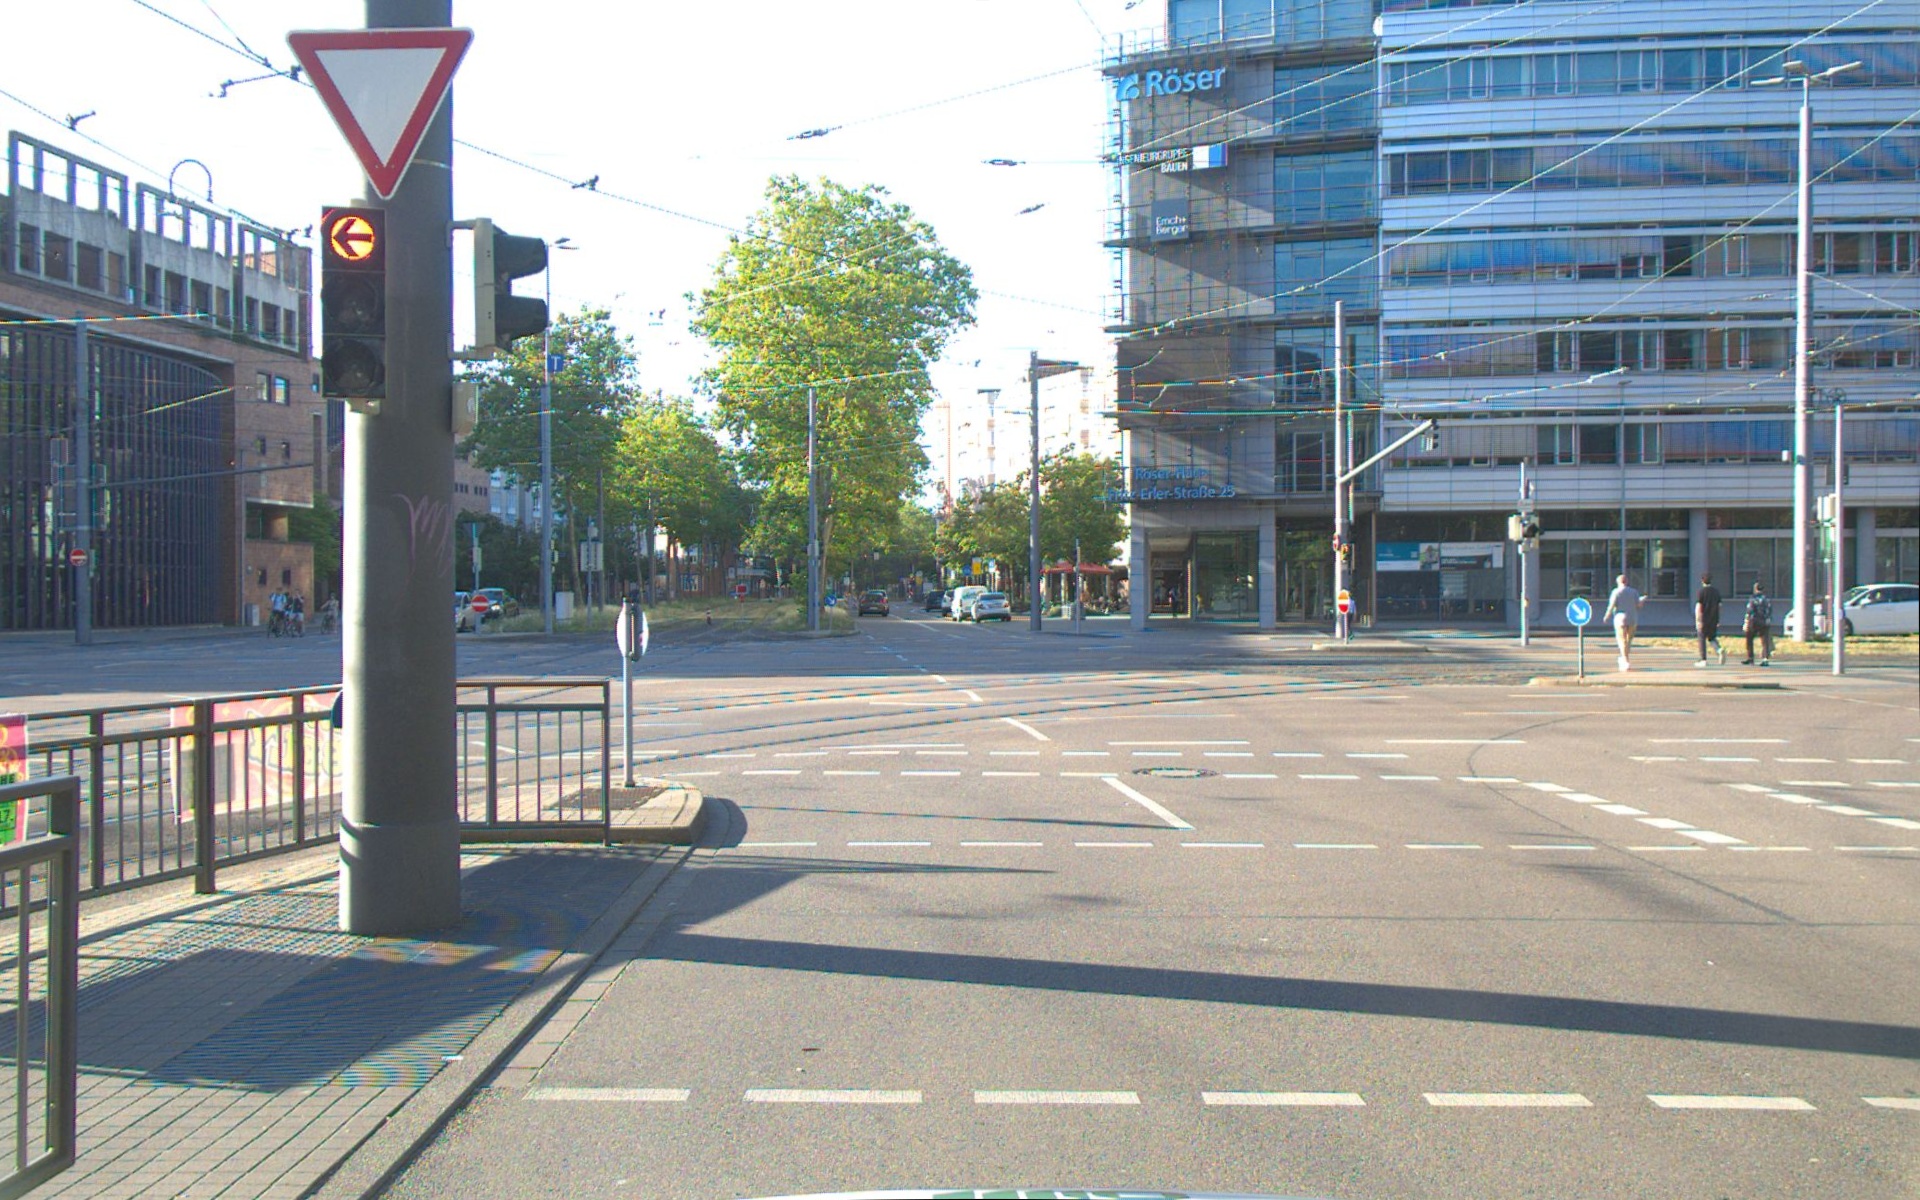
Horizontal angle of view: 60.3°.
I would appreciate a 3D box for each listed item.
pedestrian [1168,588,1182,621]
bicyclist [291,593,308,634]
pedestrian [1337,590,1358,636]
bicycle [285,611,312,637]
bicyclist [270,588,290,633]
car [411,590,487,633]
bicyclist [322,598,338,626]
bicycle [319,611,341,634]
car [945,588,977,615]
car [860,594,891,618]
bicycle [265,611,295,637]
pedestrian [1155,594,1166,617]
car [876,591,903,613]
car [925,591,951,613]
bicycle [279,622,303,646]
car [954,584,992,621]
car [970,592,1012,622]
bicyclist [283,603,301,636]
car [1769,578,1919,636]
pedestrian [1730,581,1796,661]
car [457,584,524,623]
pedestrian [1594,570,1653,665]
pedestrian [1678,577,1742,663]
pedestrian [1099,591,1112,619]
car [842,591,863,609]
[{"bbox_3d":[10.007,0.212,77.020,0.599,1.534,0.579,-1,0,7],"label":"pedestrian"},{"bbox_3d":[-26.119,0.531,65.403,0.449,1.631,0.581,-1,0,-1],"label":"bicyclist"},{"bbox_3d":[13.129,0.442,56.029,0.599,1.534,0.579,-1,0,7],"label":"pedestrian"},{"bbox_3d":[-26.122,0.932,65.333,0.463,0.980,1.575,-1,0,-1],"label":"bicycle"},{"bbox_3d":[-26.806,0.398,65.177,0.525,1.761,0.581,-1,0,-1],"label":"bicyclist"},{"bbox_3d":[-20.667,0.447,67.045,1.953,1.668,3.999,-1,0,-2],"label":"car"},{"bbox_3d":[-27.096,0.500,71.142,0.495,1.199,0.581,-1,0,-1],"label":"bicyclist"},{"bbox_3d":[-27.123,0.964,71.192,0.442,0.980,1.347,-1,0,-1],"label":"bicycle"},{"bbox_3d":[0.037,0.072,105.220,1.953,1.646,3.999,-1,0,-1],"label":"car"},{"bbox_3d":[-5.265,0.358,102.984,1.761,1.467,3.999,-1,0,-1],"label":"car"},{"bbox_3d":[-26.799,0.934,65.164,0.531,0.980,1.586,-1,0,-1],"label":"bicycle"},{"bbox_3d":[15.033,0.423,124.132,0.729,1.744,0.612,-1,0,-1],"label":"pedestrian"},{"bbox_3d":[-4.887,0.110,115.602,1.761,1.467,3.999,-1,0,-1],"label":"car"},{"bbox_3d":[-1.678,0.132,126.643,1.953,1.646,3.999,-1,0,-1],"label":"car"},{"bbox_3d":[-27.543,1.393,68.091,0.458,0.980,1.320,-1,0,-1],"label":"bicycle"},{"bbox_3d":[0.688,0.117,89.583,1.953,1.892,3.999,-1,0,-1],"label":"car"},{"bbox_3d":[1.537,0.337,82.797,1.953,1.400,3.999,-1,0,-1],"label":"car"},{"bbox_3d":[-27.533,0.803,68.157,0.495,1.327,0.581,-1,0,-1],"label":"bicyclist"},{"bbox_3d":[24.425,0.180,44.728,4.204,1.514,1.762,-1,0,4],"label":"car"},{"bbox_3d":[16.176,0.420,33.328,0.928,1.591,0.897,-1,0,6],"label":"pedestrian"},{"bbox_3d":[-21.121,0.147,74.604,1.953,1.668,3.999,-1,0,-2],"label":"car"},{"bbox_3d":[12.912,0.338,32.228,0.845,1.820,0.872,-1,0,6],"label":"pedestrian"},{"bbox_3d":[15.231,0.402,33.597,0.893,1.714,1.036,-1,0,6],"label":"pedestrian"},{"bbox_3d":[9.242,0.310,105.138,0.729,1.744,0.612,-1,0,-1],"label":"pedestrian"},{"bbox_3d":[-9.485,0.008,146.545,1.762,1.467,3.998,1,0,-3],"label":"car"}]
